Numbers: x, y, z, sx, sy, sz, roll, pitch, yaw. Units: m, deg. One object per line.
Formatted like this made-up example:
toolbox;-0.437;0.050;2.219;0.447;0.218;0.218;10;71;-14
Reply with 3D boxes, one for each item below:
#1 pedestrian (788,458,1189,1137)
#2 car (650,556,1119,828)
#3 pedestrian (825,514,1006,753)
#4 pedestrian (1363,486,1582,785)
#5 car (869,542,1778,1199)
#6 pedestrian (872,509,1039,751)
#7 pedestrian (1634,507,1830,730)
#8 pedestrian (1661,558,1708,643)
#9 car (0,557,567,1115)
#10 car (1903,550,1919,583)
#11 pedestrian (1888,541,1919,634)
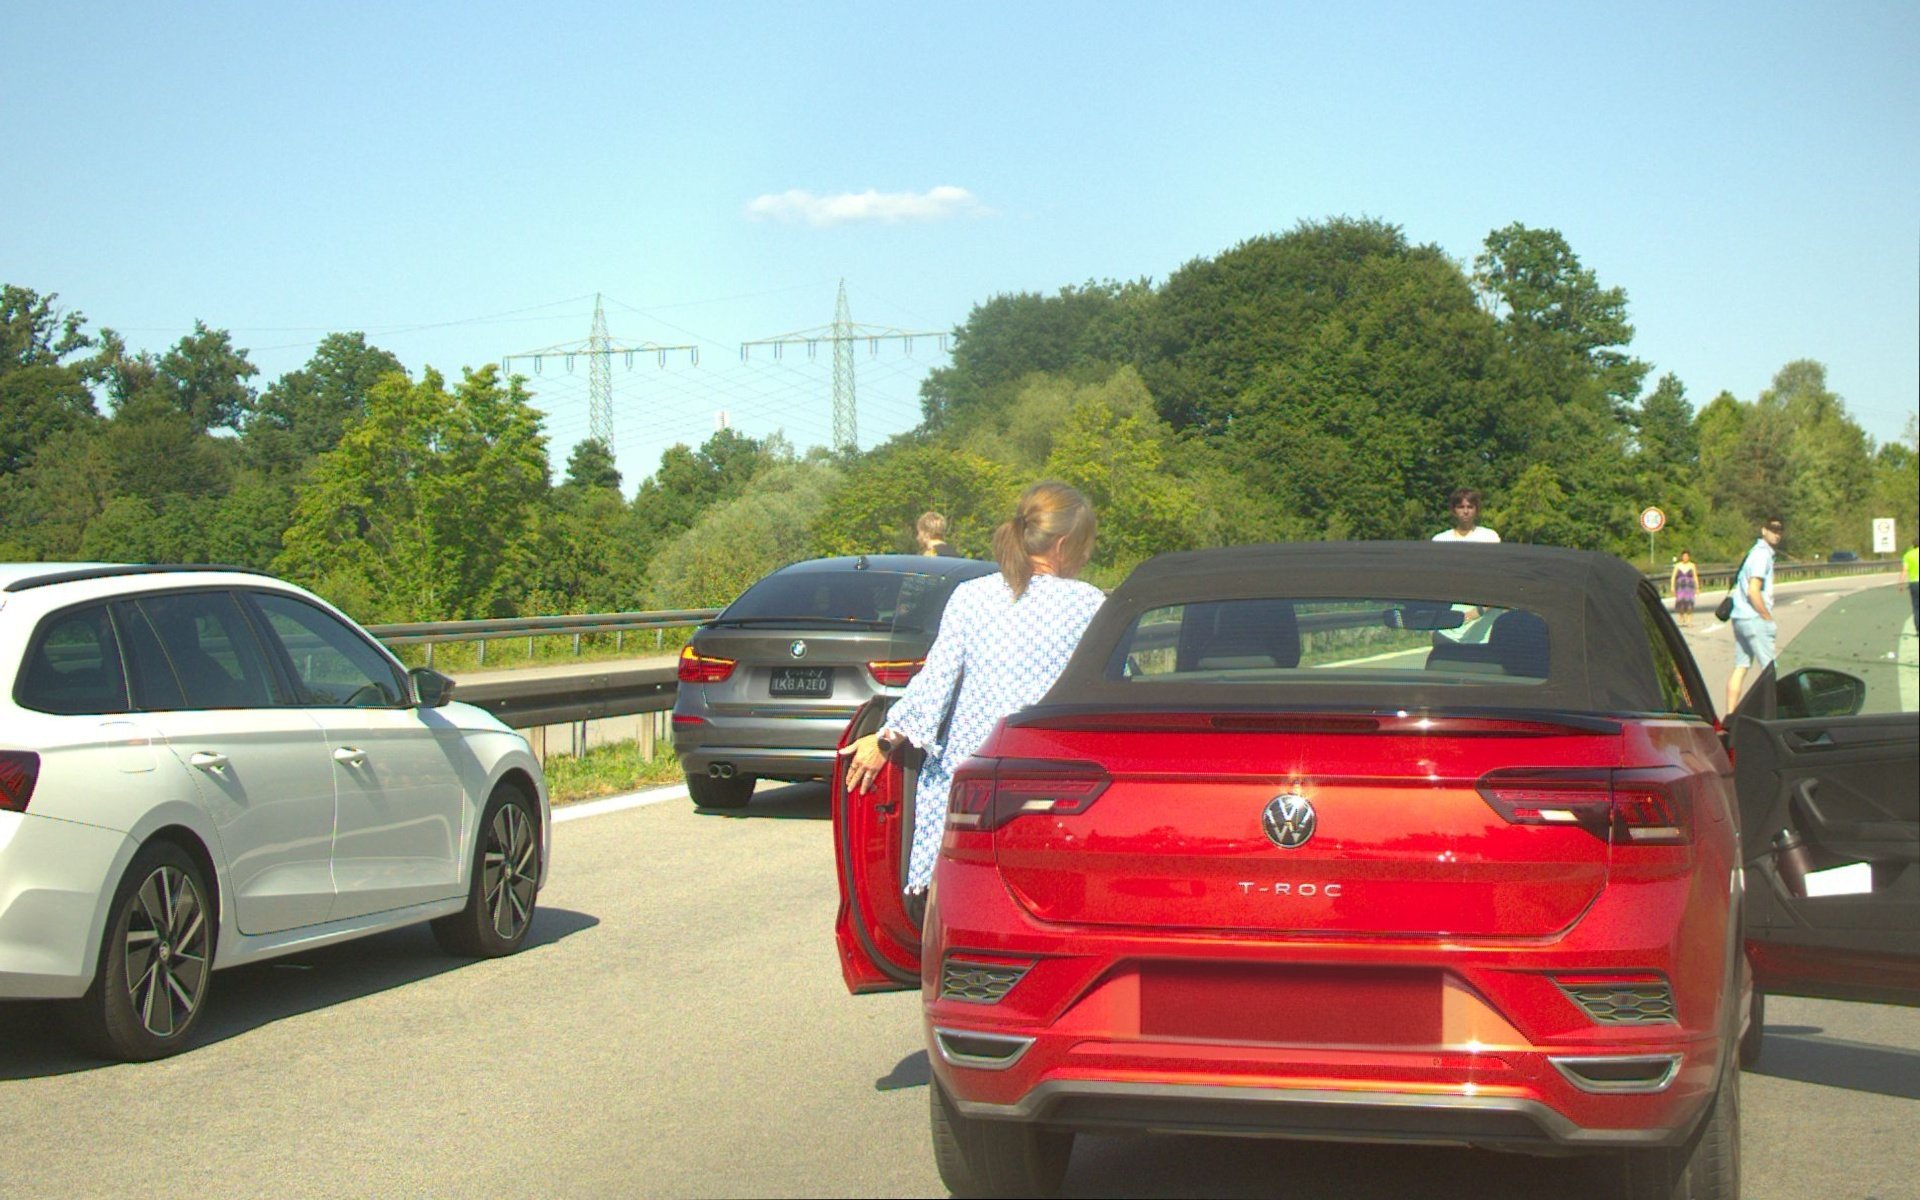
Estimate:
pedestrian;0.088;0.489;8.968;0.840;1.677;0.743;-1;1;17
car;-0.325;0.460;20.629;1.696;1.421;4.331;1;1;14
pedestrian;-0.330;0.246;26.050;1.115;1.757;1.043;-1;1;14
pedestrian;3.378;0.218;22.786;1.105;1.906;1.257;-1;1;-7
car;1.179;0.600;8.887;1.733;1.482;4.207;1;1;14
pedestrian;-0.024;0.229;27.320;1.066;1.876;1.093;-1;1;14
pedestrian;6.341;0.143;28.268;1.088;1.782;1.108;0;1;-30
pedestrian;14.425;0.009;68.465;0.792;1.683;0.791;1;0;20
car;-2.833;0.593;11.169;1.696;1.436;4.207;1;1;14
car;45.575;-1.566;160.854;1.735;1.482;4.203;1;1;31
pedestrian;17.515;-0.231;62.637;1.057;1.683;1.016;1;0;21
